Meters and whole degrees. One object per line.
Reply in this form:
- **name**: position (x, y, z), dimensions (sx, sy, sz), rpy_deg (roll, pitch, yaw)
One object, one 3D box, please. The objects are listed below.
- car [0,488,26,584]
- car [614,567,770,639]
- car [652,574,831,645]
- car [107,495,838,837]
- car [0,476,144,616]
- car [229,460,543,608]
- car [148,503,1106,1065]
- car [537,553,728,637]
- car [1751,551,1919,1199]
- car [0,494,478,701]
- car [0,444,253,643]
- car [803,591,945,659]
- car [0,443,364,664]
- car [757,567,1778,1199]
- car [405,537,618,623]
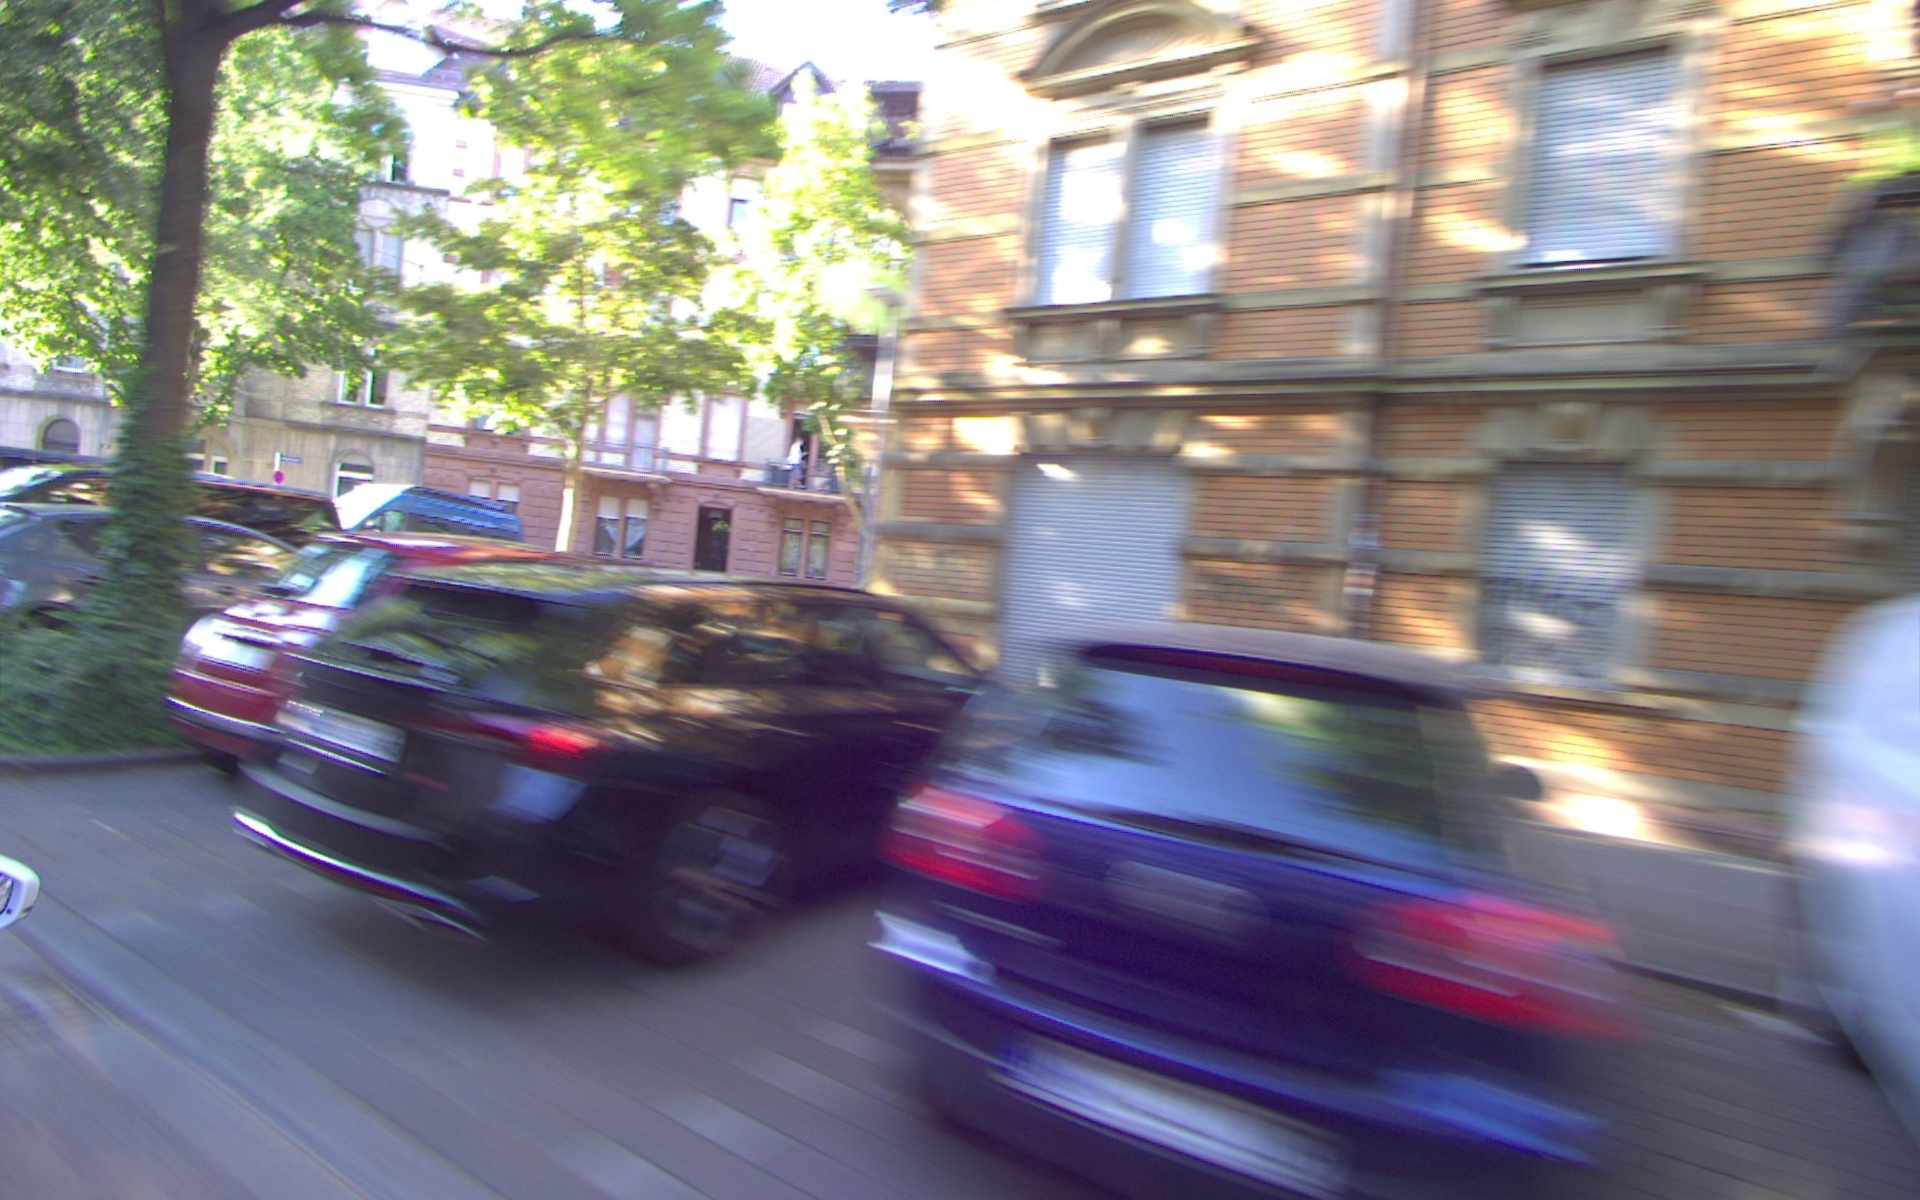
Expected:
- **car**: position (-17.185, -1.232, 15.378), dimensions (1.817, 1.534, 3.845), rpy_deg (7, 0, 31)
- **car**: position (-7.991, 0.092, 30.343), dimensions (4.170, 1.601, 1.865), rpy_deg (7, 0, -7)
- **car**: position (-4.975, 0.274, 23.446), dimensions (1.831, 1.292, 4.063), rpy_deg (7, 0, 27)
- **car**: position (-2.878, 0.377, 6.879), dimensions (1.813, 1.516, 4.085), rpy_deg (7, 0, 31)
- **car**: position (-13.190, -0.832, 12.723), dimensions (1.769, 1.713, 3.993), rpy_deg (7, 0, 29)
- **car**: position (-12.994, -1.380, 23.369), dimensions (2.337, 2.568, 5.909), rpy_deg (7, 0, 25)
- **car**: position (-1.057, 0.590, 5.140), dimensions (1.901, 1.474, 4.374), rpy_deg (7, 0, 31)
- **car**: position (-7.567, -0.053, 23.634), dimensions (1.831, 1.528, 4.064), rpy_deg (7, -1, 27)
- **car**: position (3.620, 0.863, 2.302), dimensions (2.123, 1.963, 5.098), rpy_deg (3, -2, 31)
- **car**: position (-6.746, 0.007, 8.917), dimensions (1.860, 1.466, 3.987), rpy_deg (7, 0, 35)
- **car**: position (-10.954, -0.708, 11.124), dimensions (1.966, 2.039, 4.623), rpy_deg (7, 0, 28)
- **car**: position (-2.695, 0.757, 31.452), dimensions (4.170, 1.601, 1.865), rpy_deg (7, 0, -7)
- **car**: position (-8.700, -0.437, 10.030), dimensions (1.905, 1.908, 4.276), rpy_deg (7, 0, 27)
- **car**: position (1.189, 0.817, 3.775), dimensions (1.749, 1.494, 3.995), rpy_deg (7, 1, 23)
- **car**: position (-10.298, -0.403, 23.483), dimensions (1.880, 1.523, 4.304), rpy_deg (7, 0, 23)
